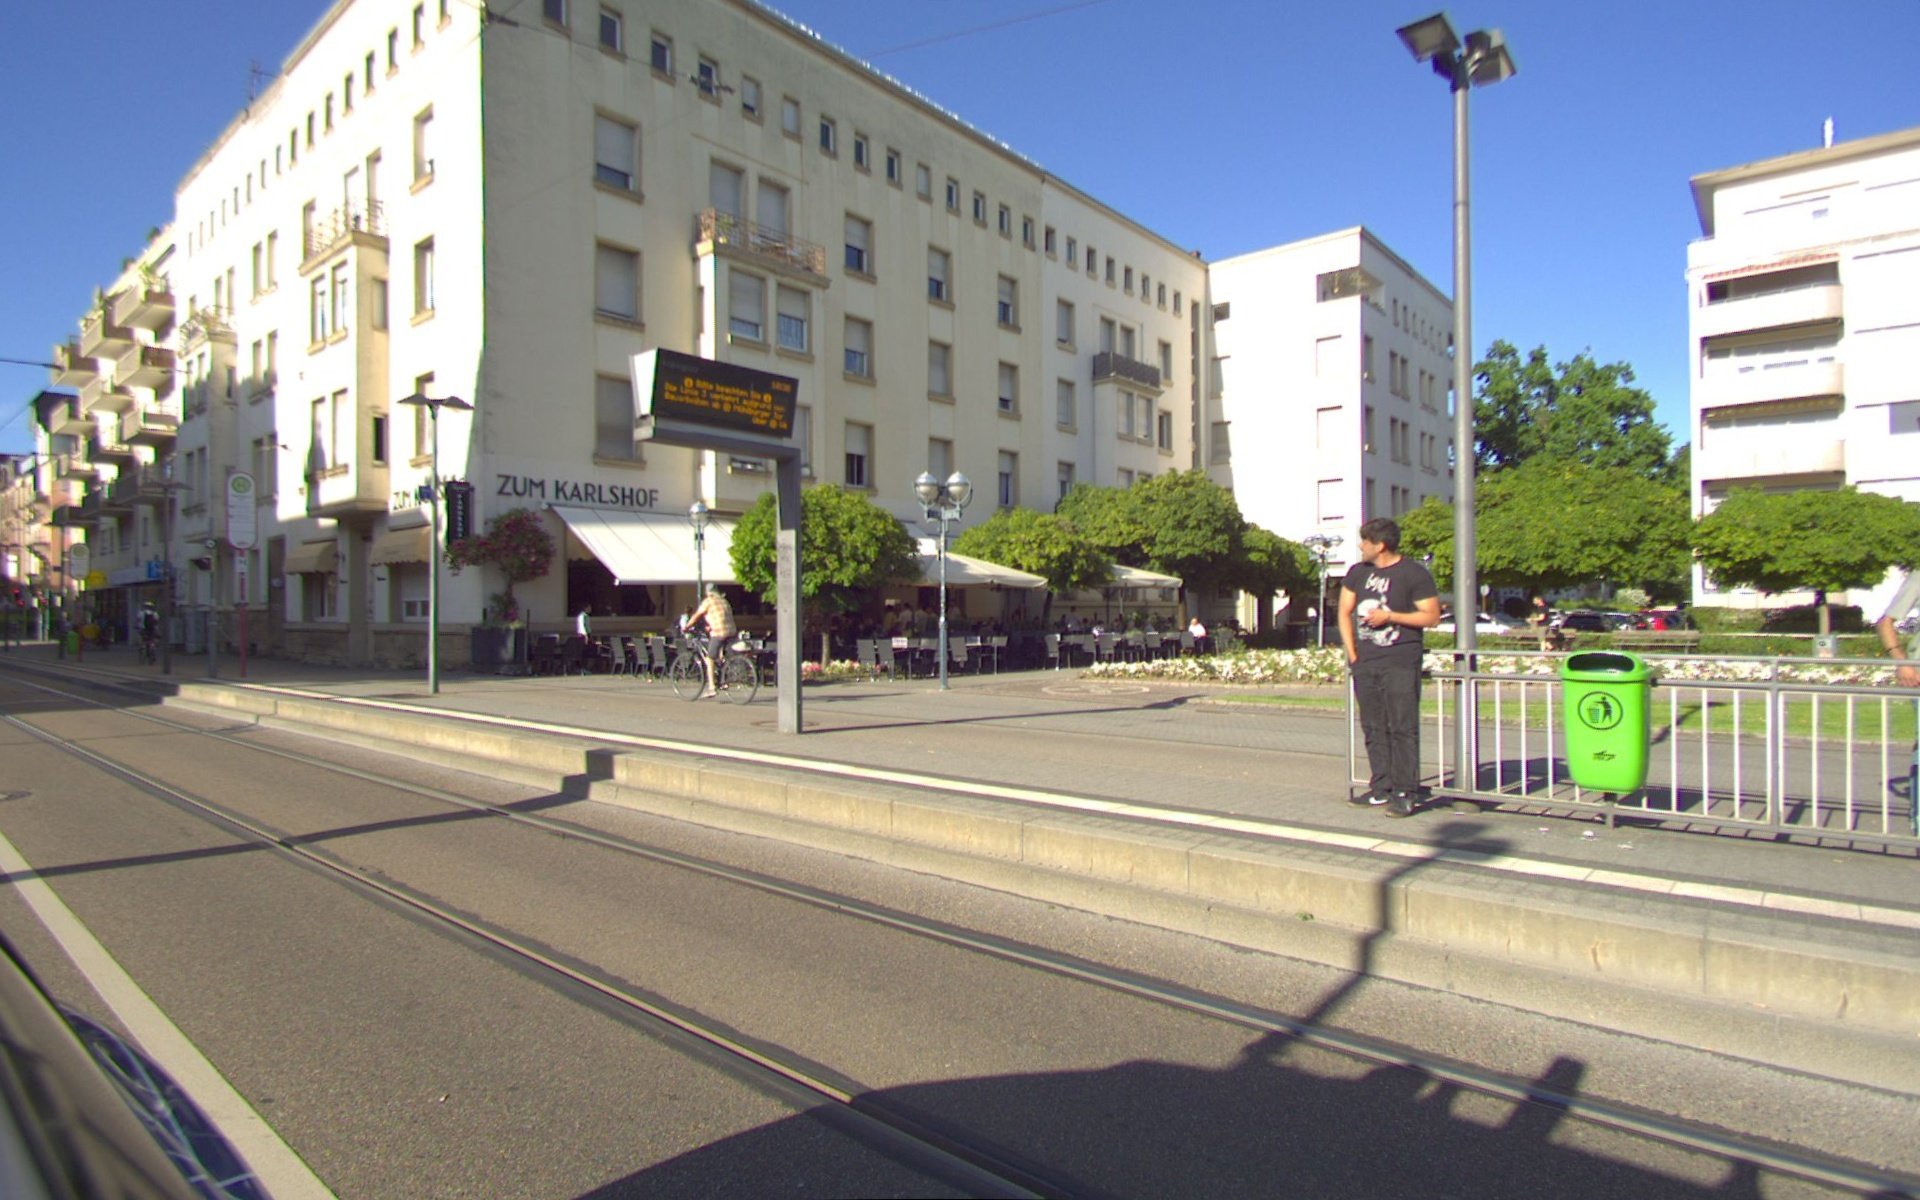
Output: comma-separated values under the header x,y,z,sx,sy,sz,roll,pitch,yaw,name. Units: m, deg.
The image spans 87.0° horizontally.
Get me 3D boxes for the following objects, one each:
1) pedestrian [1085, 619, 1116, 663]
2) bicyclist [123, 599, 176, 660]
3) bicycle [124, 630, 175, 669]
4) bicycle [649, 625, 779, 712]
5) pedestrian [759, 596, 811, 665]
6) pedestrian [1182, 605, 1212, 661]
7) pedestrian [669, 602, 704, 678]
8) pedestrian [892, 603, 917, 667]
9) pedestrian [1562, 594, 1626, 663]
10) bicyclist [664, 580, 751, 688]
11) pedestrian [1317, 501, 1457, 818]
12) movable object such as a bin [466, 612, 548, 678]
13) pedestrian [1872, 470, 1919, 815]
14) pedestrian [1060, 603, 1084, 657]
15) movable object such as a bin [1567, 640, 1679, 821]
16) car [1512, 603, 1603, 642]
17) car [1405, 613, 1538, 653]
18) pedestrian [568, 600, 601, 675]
x,y,z,sx,sy,sz,roll,pitch,yaw,name
4.249,1.241,30.636,0.672,1.280,0.636,-5,-5,36,pedestrian
-24.667,0.884,30.806,1.093,1.807,0.995,-1,-1,34,bicyclist
-24.676,1.490,30.801,2.031,1.134,0.705,-1,-1,36,bicycle
-3.495,0.932,14.275,1.974,1.121,0.721,-1,-1,39,bicycle
-4.322,0.746,25.039,0.755,1.657,1.054,-1,-1,36,pedestrian
7.528,1.055,32.179,0.710,1.750,0.673,-2,-4,1,pedestrian
-6.115,0.899,22.671,0.663,1.657,0.678,-1,-4,-8,pedestrian
-1.618,1.007,29.464,0.641,1.837,0.576,-1,-1,5,pedestrian
17.014,0.755,27.174,1.065,1.801,1.178,0,-1,-41,pedestrian
-3.578,0.463,14.338,0.876,1.466,0.819,-1,0,38,bicyclist
2.501,0.335,5.939,0.607,1.731,0.542,-1,-3,43,pedestrian
-10.032,0.972,22.409,1.127,1.410,1.302,-1,-1,40,movable object such as a bin
5.344,0.225,5.324,0.769,1.788,0.608,-2,-4,43,pedestrian
3.732,1.014,33.738,0.677,1.750,0.671,-3,-4,14,pedestrian
3.397,0.643,5.185,0.416,0.866,0.332,-1,-1,44,movable object such as a bin
23.965,0.888,40.604,2.932,1.497,1.399,-1,-1,41,car
17.577,1.108,34.827,3.713,1.310,1.973,-1,-1,41,car
-8.547,0.854,23.043,0.662,1.657,0.753,0,-4,-22,pedestrian
